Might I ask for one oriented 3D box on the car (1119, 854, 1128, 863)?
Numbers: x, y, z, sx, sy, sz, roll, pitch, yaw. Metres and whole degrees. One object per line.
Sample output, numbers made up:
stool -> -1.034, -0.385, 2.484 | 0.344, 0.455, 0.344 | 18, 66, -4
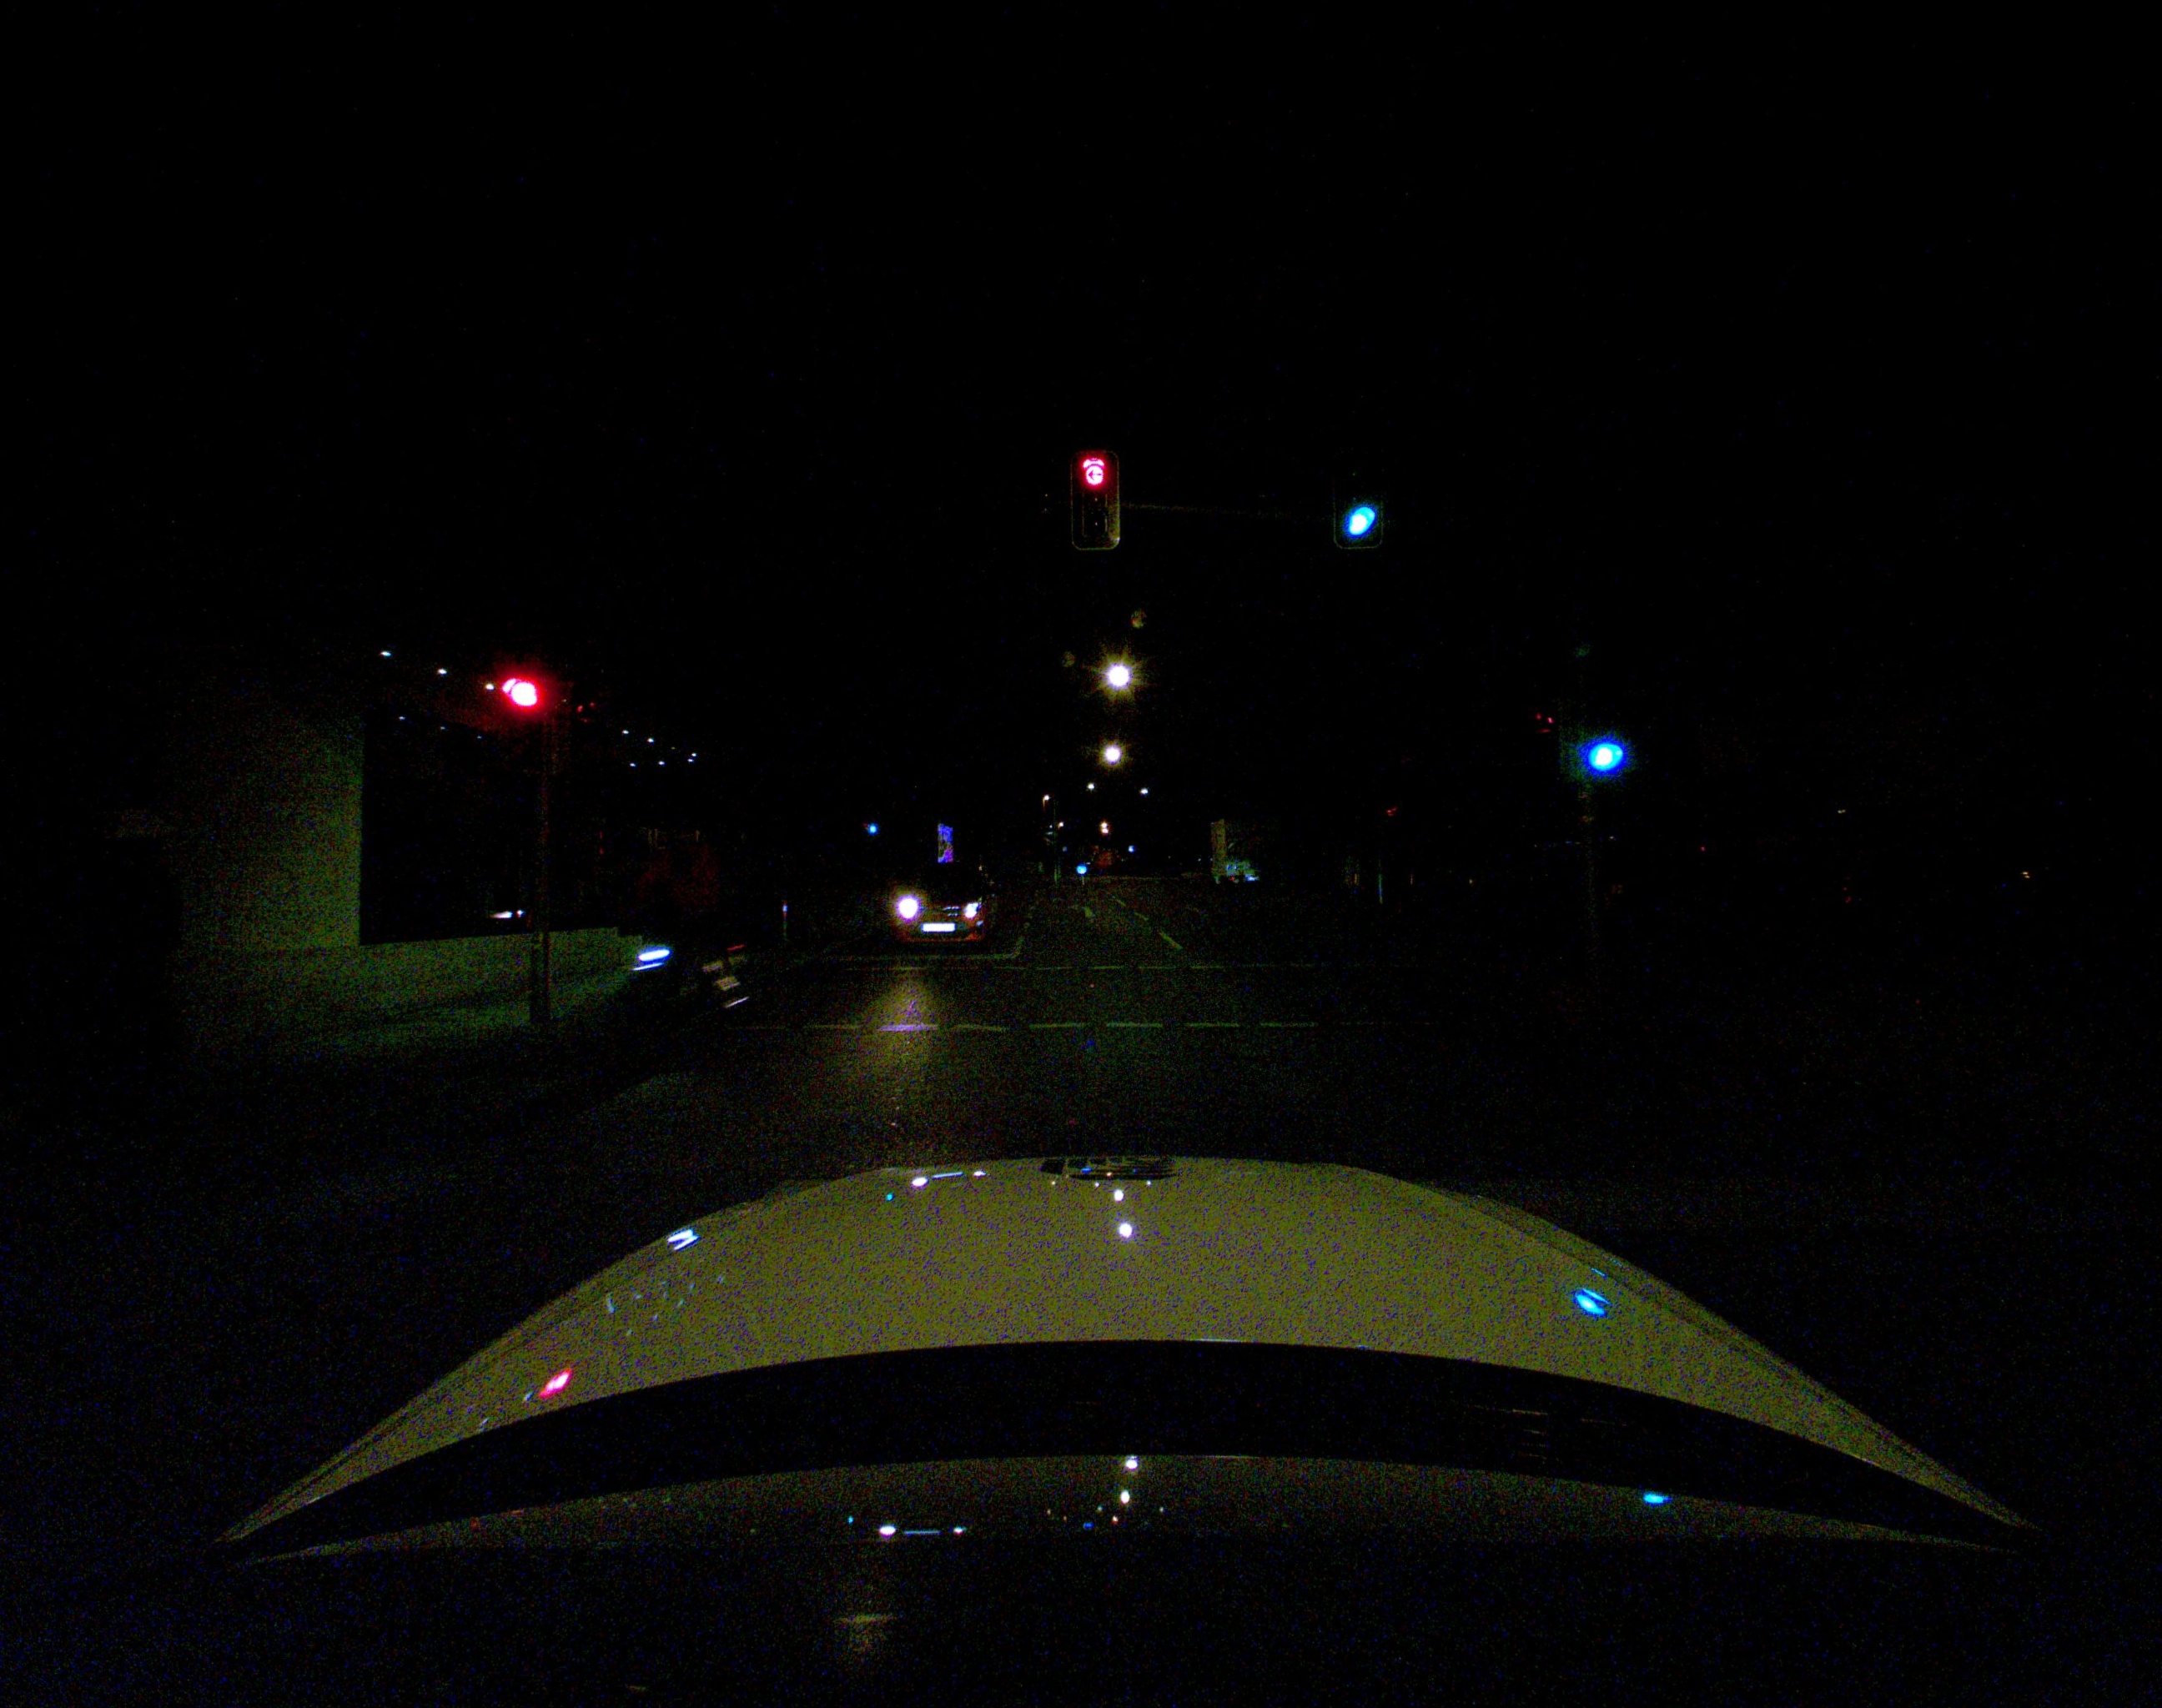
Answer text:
car -> 7.489, 0.817, 143.398 | 1.628, 1.452, 3.486 | 0, 0, 2

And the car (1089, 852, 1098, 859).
car -> 2.437, 0.308, 160.753 | 1.809, 1.491, 4.000 | 0, 0, 0

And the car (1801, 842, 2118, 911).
car -> 17.323, 0.448, 16.270 | 4.107, 1.280, 1.770 | -1, -1, 9

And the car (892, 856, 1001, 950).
car -> -2.366, 0.803, 15.000 | 1.578, 1.501, 3.392 | -1, 0, -3

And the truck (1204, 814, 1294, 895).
truck -> 6.961, 0.038, 34.611 | 2.738, 3.110, 6.262 | 0, 0, 2

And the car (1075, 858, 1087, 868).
car -> 0.068, 1.334, 118.414 | 1.628, 1.452, 3.486 | 0, 0, 2

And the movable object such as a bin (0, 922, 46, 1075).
movable object such as a bin -> -7.926, 1.032, 5.702 | 0.633, 1.049, 0.657 | -1, -1, 19

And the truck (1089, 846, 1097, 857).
truck -> 3.145, -0.721, 209.808 | 2.079, 2.848, 5.831 | 0, 0, 0

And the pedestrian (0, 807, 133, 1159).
pedestrian -> -5.744, 0.644, 4.051 | 0.739, 1.745, 1.103 | -1, -1, 0

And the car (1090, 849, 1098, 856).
car -> 3.003, -0.334, 187.155 | 1.809, 1.491, 4.000 | 0, 0, 0

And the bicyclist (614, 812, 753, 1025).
bicyclist -> -3.253, 0.500, 6.742 | 0.688, 1.637, 0.896 | -1, -1, 1

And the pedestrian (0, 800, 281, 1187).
pedestrian -> -4.980, 0.637, 4.201 | 0.673, 1.745, 1.029 | -1, -1, 0

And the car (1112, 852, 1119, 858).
car -> 8.190, 0.211, 191.555 | 1.628, 1.452, 3.486 | 0, 0, 2

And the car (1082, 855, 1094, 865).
car -> 1.199, 1.002, 134.627 | 1.808, 1.684, 4.002 | 0, 0, 2

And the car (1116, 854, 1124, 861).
car -> 7.611, 0.703, 159.328 | 1.628, 1.452, 3.486 | 0, 0, 2

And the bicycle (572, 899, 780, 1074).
bicycle -> -3.247, 0.999, 6.775 | 0.693, 1.149, 1.951 | -1, -1, 2

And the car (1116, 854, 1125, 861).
car -> 7.475, 0.642, 153.143 | 1.628, 1.452, 3.486 | 0, 0, 2

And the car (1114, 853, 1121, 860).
car -> 7.982, 0.519, 178.576 | 1.628, 1.452, 3.486 | 0, 0, 2
